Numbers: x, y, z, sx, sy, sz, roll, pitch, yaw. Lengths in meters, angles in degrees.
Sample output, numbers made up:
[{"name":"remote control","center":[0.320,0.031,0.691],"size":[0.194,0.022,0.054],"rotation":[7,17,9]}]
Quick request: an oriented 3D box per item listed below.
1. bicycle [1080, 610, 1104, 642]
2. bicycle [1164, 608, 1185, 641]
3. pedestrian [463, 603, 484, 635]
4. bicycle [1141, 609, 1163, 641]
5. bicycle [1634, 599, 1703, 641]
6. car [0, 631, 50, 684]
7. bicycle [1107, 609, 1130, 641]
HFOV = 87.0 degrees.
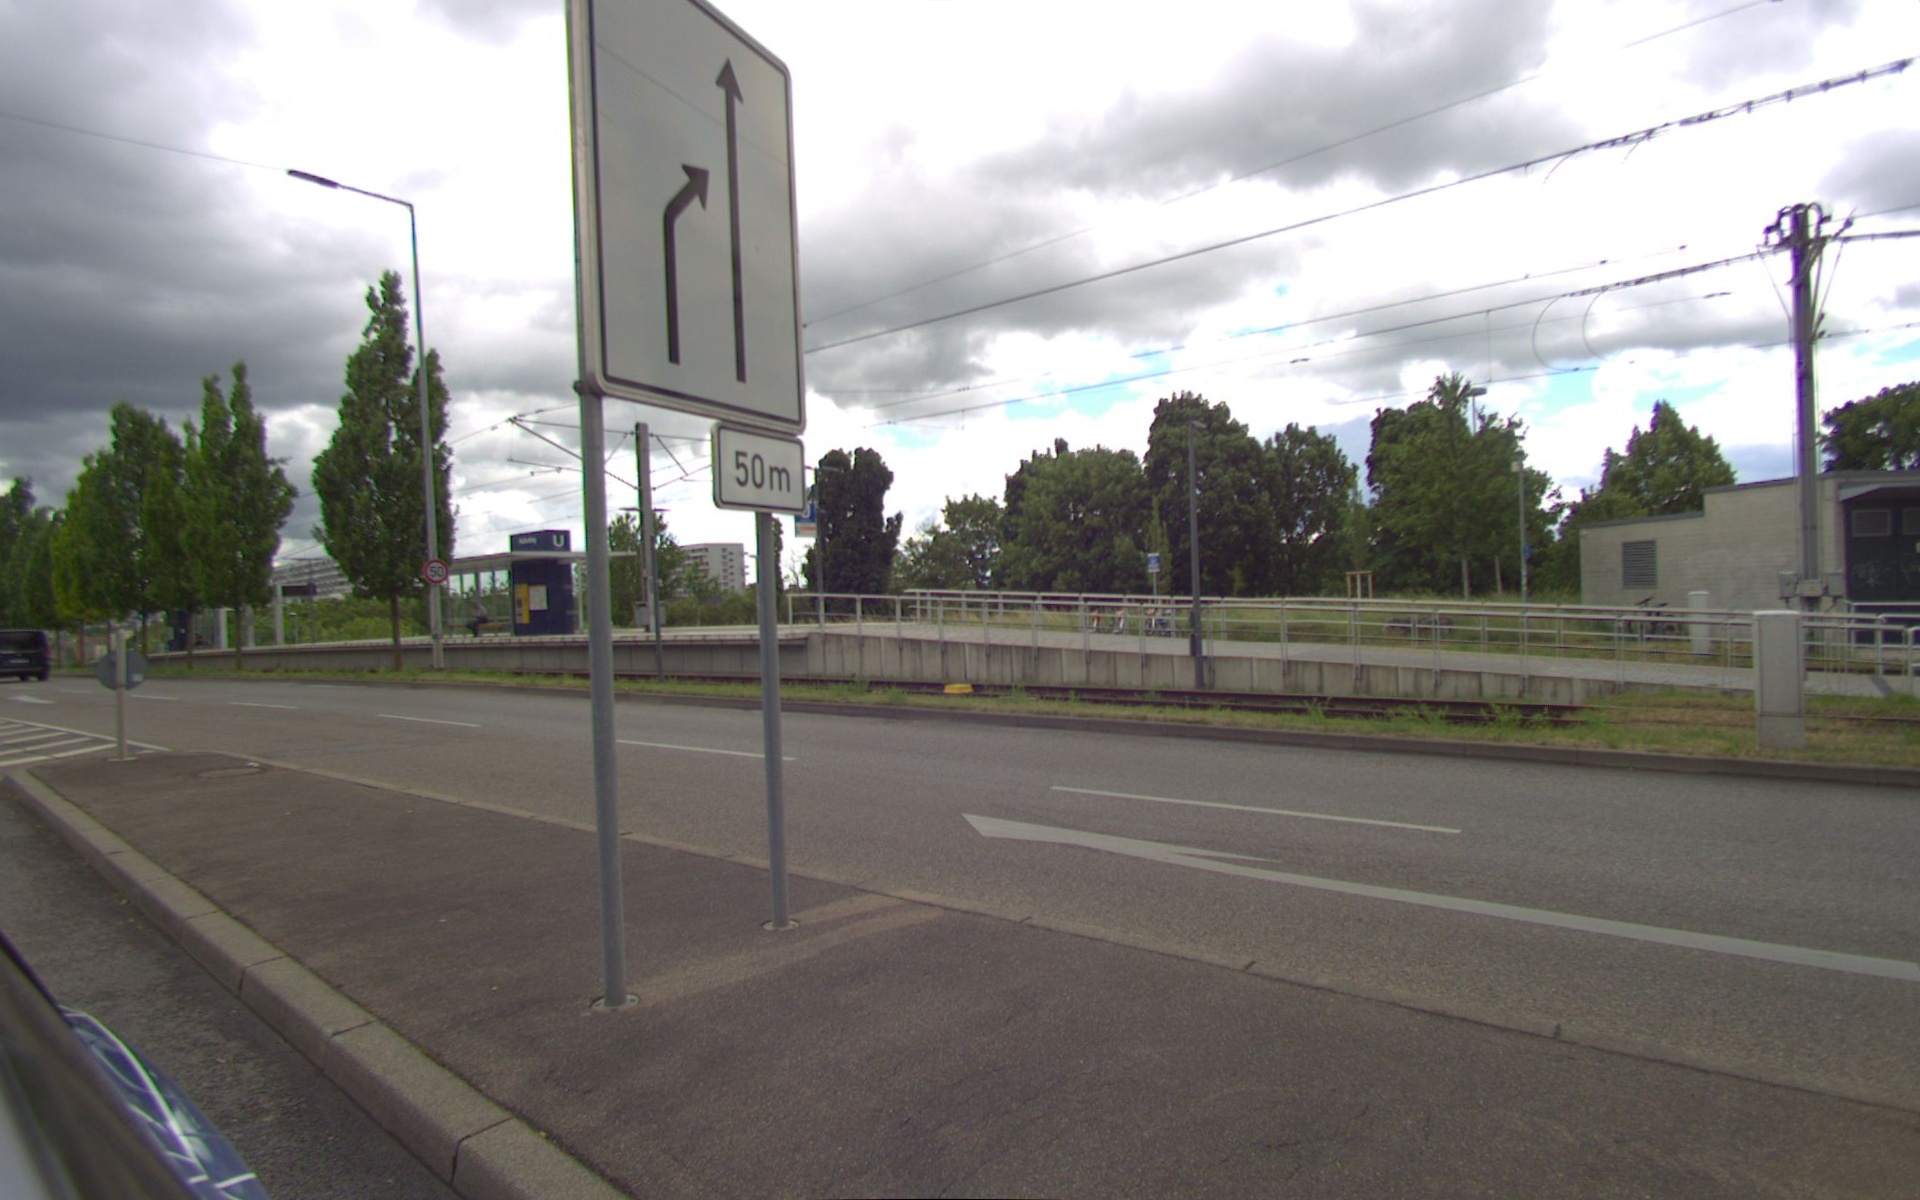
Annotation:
[{"name":"bicycle","center":[4.554,0.885,34.948],"size":[0.531,1.039,1.804],"rotation":[-1,0,16]},{"name":"bicycle","center":[7.140,0.804,33.704],"size":[0.531,1.039,1.804],"rotation":[-1,0,16]},{"name":"pedestrian","center":[-18.232,0.707,37.929],"size":[0.447,1.163,0.593],"rotation":[-1,0,41]},{"name":"bicycle","center":[6.464,0.820,33.993],"size":[0.531,1.039,1.804],"rotation":[-1,0,16]},{"name":"bicycle","center":[18.247,0.506,26.103],"size":[0.529,1.039,1.813],"rotation":[-1,0,1]},{"name":"car","center":[-35.070,2.096,36.876],"size":[5.083,1.826,1.870],"rotation":[-2,-2,37]},{"name":"bicycle","center":[5.408,0.848,34.446],"size":[0.531,1.039,1.804],"rotation":[-1,0,16]}]
